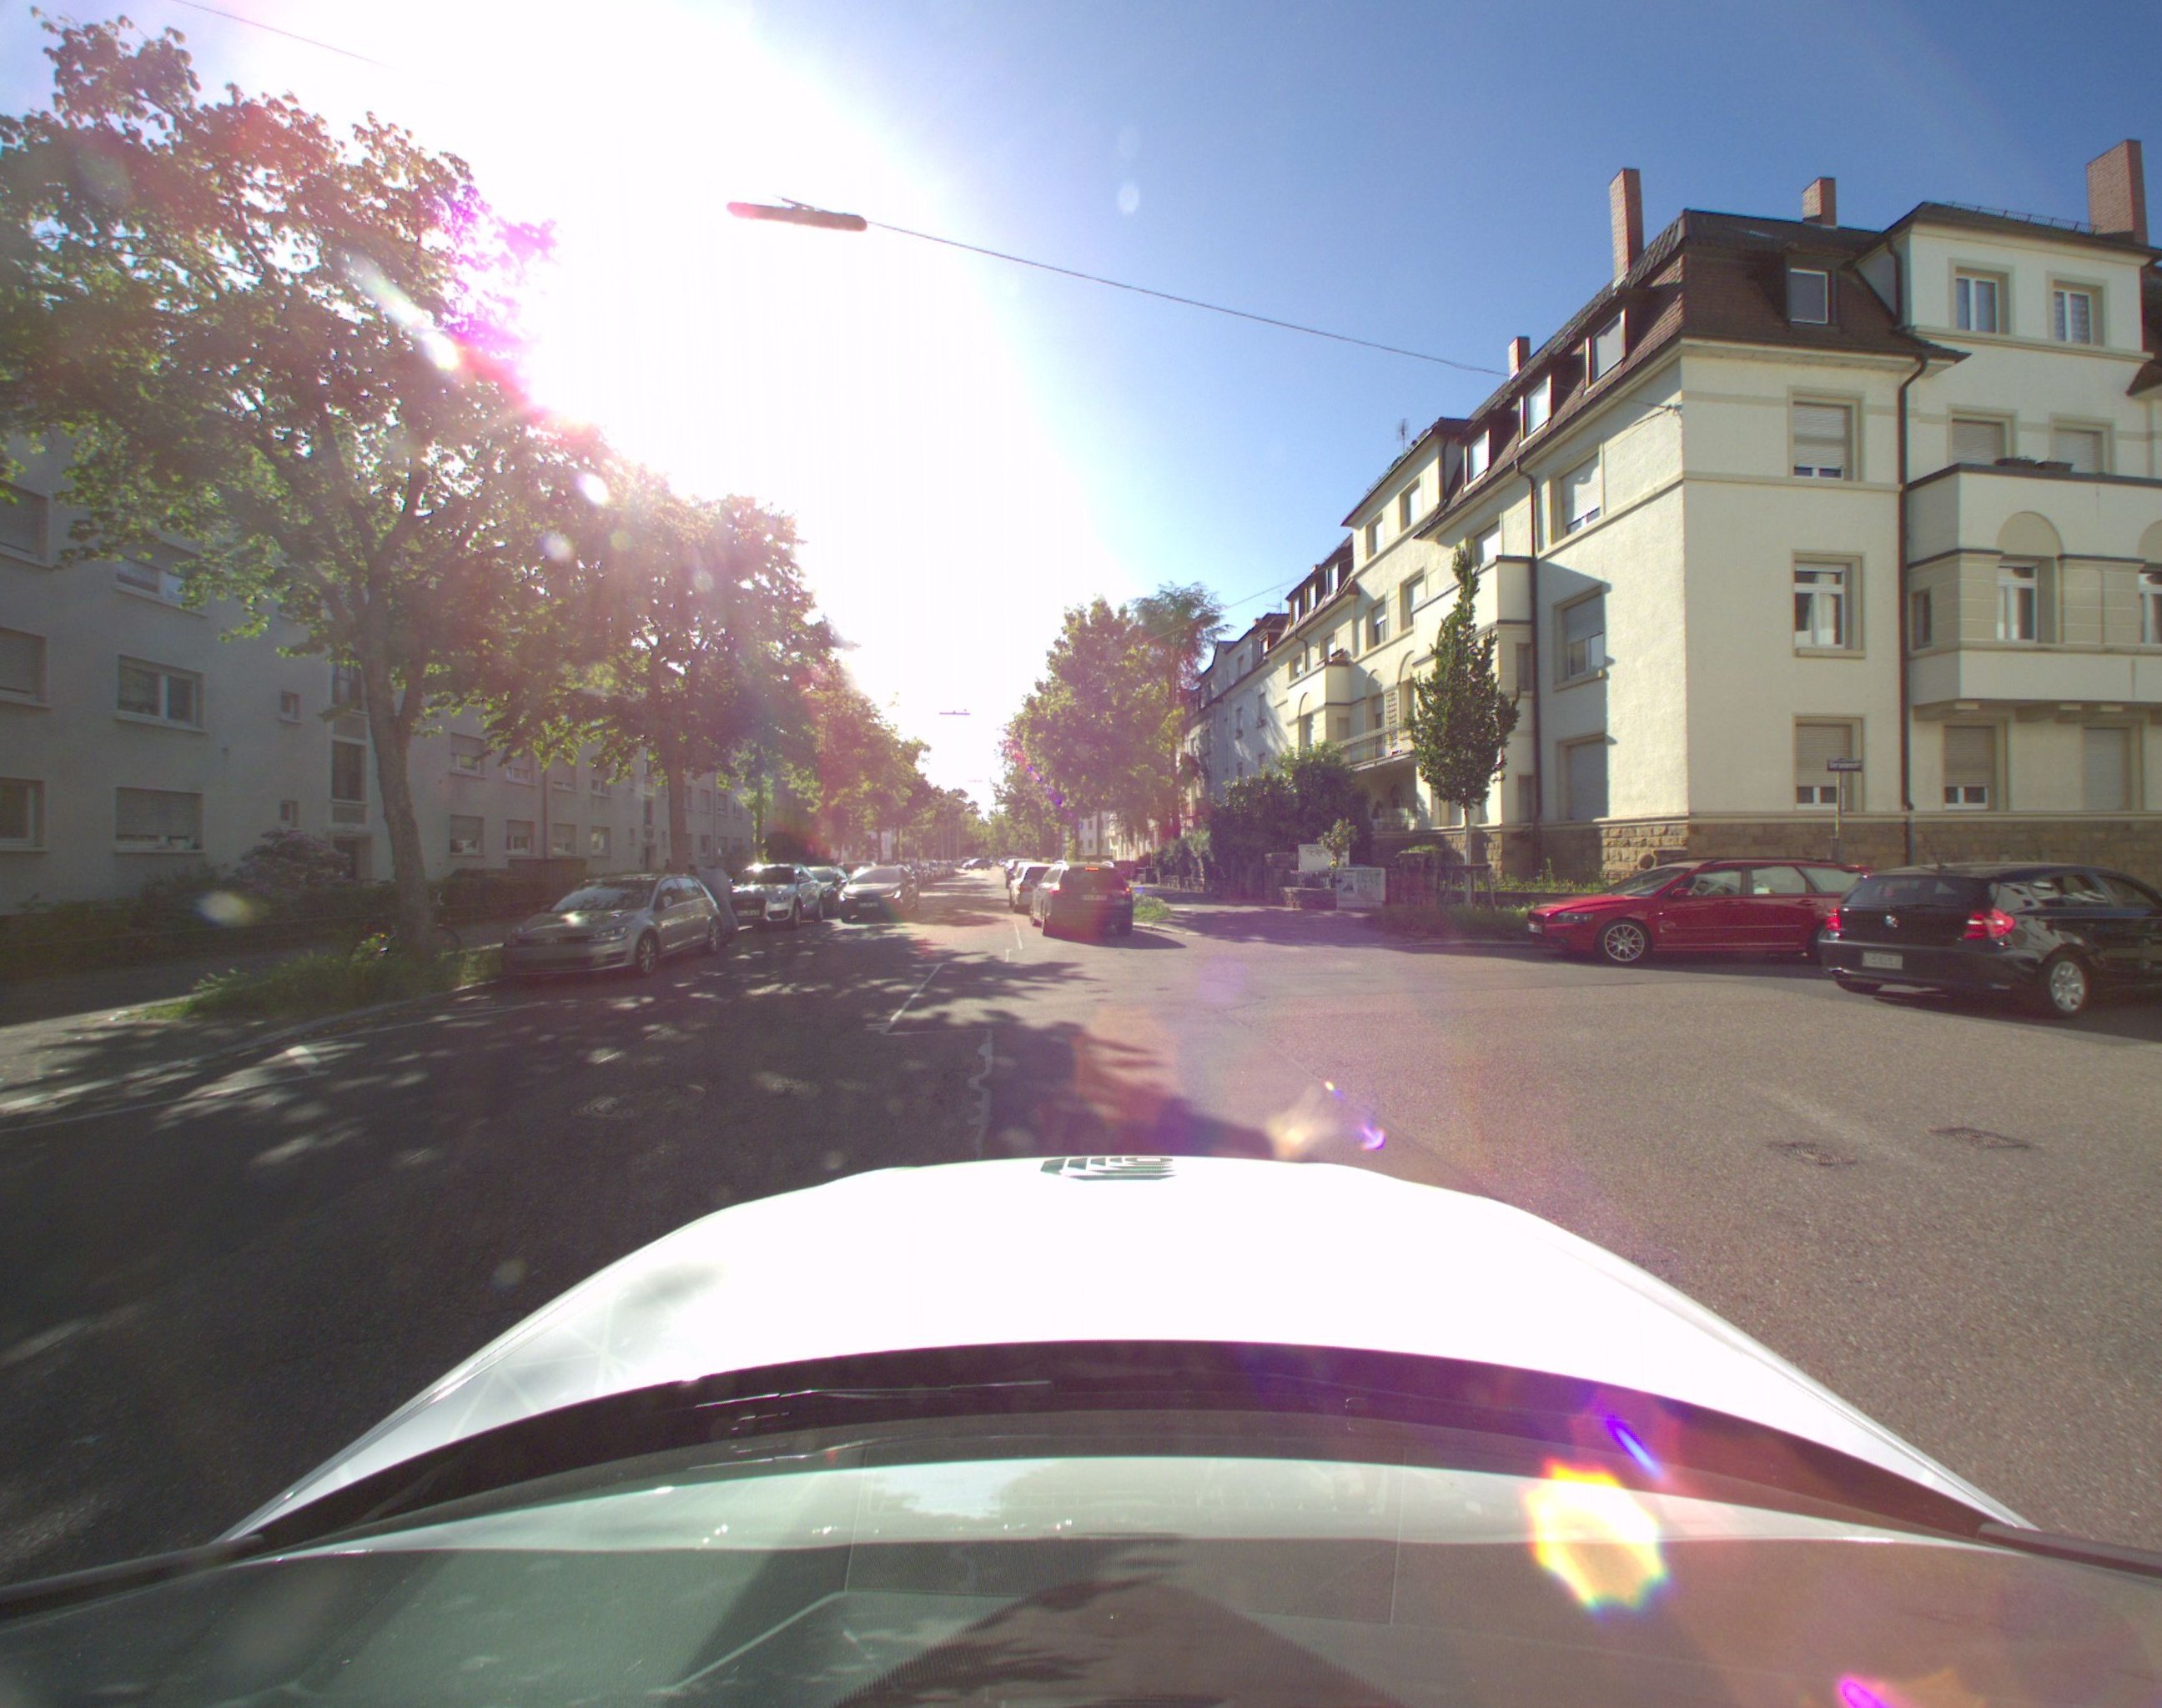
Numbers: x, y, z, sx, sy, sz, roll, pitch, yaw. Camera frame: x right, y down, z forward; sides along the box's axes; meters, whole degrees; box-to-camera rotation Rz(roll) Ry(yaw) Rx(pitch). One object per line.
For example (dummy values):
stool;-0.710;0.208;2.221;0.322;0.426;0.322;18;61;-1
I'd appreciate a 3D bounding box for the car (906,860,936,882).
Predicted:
car;-11.571;1.208;58.959;1.760;1.443;3.899;-3;0;-7

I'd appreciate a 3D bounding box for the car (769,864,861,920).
car;-8.189;1.097;25.490;1.726;1.447;4.810;-3;0;-7

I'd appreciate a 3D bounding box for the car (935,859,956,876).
car;-14.048;1.360;84.708;1.838;1.595;4.252;-3;0;-7

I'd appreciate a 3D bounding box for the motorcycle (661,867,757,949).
motorcycle;-7.496;1.033;16.367;2.205;1.503;0.995;-2;0;44

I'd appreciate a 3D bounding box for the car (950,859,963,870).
car;-21.092;1.749;138.269;1.991;1.671;3.992;-1;0;-6

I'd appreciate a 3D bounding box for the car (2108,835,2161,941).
car;18.935;0.492;12.652;4.168;1.641;1.829;-1;0;-8

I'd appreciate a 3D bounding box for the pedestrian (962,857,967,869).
pedestrian;-19.883;1.515;139.076;0.716;1.900;0.832;-1;0;-16

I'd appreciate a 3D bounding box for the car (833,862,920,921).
car;-5.708;0.981;23.203;1.807;1.445;4.356;-2;0;-7

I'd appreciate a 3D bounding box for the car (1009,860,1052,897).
car;-2.306;1.037;36.284;1.652;1.532;3.959;2;-1;-7

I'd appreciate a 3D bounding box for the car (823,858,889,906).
car;-8.752;1.032;32.020;1.727;1.618;4.356;-4;0;-7

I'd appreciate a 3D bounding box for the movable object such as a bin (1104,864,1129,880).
movable object such as a bin;2.264;1.124;51.278;1.212;0.905;1.671;-1;0;15

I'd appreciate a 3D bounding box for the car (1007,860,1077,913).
car;-1.316;0.955;25.635;1.820;1.469;4.897;1;0;-7

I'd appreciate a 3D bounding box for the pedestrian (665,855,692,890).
pedestrian;-21.916;0.994;44.353;0.930;1.888;1.026;-1;-1;0

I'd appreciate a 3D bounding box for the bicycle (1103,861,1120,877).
bicycle;2.133;1.032;56.707;0.803;1.115;1.994;0;-1;-9

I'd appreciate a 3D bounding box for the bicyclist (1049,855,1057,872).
bicyclist;-2.690;0.898;77.551;0.677;1.609;0.919;-1;-1;-9

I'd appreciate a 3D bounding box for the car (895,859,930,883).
car;-11.162;1.085;54.241;1.827;1.453;4.113;-2;0;-6

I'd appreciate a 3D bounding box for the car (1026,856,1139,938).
car;-0.136;0.857;17.923;1.894;1.524;4.954;0;-1;-7

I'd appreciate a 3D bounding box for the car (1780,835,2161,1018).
car;9.707;0.617;8.482;3.995;1.523;1.779;-2;0;-16

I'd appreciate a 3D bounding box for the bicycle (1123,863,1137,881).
bicycle;2.860;1.037;47.824;0.580;0.975;1.900;-1;0;-4

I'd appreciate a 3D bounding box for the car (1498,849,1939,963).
car;8.917;0.722;11.841;4.691;1.469;1.958;-1;-1;8

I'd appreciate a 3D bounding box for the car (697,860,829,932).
car;-7.737;0.950;20.335;2.063;1.524;4.707;-1;0;-9

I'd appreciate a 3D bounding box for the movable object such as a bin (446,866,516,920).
movable object such as a bin;-15.563;0.997;21.164;0.930;1.324;1.374;-1;0;-11

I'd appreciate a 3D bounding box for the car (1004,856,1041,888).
car;-3.266;0.985;45.799;1.922;1.652;5.087;1;0;-4

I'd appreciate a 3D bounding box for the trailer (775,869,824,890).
trailer;-15.780;1.421;45.764;1.785;1.034;3.276;-1;0;-4

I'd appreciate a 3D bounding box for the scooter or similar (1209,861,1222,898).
scooter or similar;4.538;0.842;27.414;0.399;1.185;1.209;-1;0;9

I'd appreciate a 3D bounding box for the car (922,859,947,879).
car;-12.553;1.289;70.032;1.708;1.544;3.923;-3;0;-5

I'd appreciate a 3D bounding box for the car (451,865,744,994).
car;-7.018;0.977;12.552;2.039;1.524;4.598;-1;0;-5

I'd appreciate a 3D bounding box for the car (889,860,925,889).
car;-10.495;1.183;49.343;1.789;1.566;4.451;-4;0;-9

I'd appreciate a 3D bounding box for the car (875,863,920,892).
car;-9.917;1.236;44.234;1.777;1.379;4.254;-3;0;-5

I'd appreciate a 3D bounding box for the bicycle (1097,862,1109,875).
bicycle;1.644;1.067;61.219;0.595;0.957;1.899;-1;0;-6

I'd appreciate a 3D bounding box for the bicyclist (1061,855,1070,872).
bicyclist;-1.454;0.899;77.310;0.676;1.553;1.018;-1;-1;-9

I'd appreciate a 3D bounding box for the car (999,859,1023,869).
car;-11.771;1.658;136.836;3.987;1.587;1.721;-1;0;-10

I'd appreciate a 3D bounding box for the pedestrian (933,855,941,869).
pedestrian;-20.520;1.106;115.985;0.855;2.013;0.982;-1;0;2

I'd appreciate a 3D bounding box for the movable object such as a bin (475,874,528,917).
movable object such as a bin;-15.774;1.122;22.193;0.930;1.092;0.751;-1;-1;-12

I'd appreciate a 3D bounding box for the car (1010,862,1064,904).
car;-1.729;1.035;30.598;1.709;1.410;4.849;1;0;-7

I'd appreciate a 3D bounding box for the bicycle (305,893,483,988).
bicycle;-9.210;1.112;11.046;0.529;1.015;2.090;6;0;0

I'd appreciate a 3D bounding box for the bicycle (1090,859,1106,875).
bicycle;1.320;0.987;63.594;0.838;1.257;2.224;0;-1;-9

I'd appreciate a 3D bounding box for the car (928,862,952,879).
car;-13.581;1.564;78.662;1.991;1.453;4.252;-3;0;-7

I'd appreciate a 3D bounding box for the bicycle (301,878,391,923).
bicycle;-18.752;1.164;20.827;0.786;1.041;1.929;-1;0;-10

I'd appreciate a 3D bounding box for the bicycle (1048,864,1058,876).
bicycle;-2.695;1.533;77.600;0.683;1.153;2.395;-1;0;-9

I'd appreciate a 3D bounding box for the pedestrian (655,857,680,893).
pedestrian;-21.942;1.110;43.204;0.774;1.913;0.883;-2;-1;21

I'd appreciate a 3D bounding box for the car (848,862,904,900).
car;-9.308;1.187;37.320;1.726;1.477;4.610;-4;0;-6
